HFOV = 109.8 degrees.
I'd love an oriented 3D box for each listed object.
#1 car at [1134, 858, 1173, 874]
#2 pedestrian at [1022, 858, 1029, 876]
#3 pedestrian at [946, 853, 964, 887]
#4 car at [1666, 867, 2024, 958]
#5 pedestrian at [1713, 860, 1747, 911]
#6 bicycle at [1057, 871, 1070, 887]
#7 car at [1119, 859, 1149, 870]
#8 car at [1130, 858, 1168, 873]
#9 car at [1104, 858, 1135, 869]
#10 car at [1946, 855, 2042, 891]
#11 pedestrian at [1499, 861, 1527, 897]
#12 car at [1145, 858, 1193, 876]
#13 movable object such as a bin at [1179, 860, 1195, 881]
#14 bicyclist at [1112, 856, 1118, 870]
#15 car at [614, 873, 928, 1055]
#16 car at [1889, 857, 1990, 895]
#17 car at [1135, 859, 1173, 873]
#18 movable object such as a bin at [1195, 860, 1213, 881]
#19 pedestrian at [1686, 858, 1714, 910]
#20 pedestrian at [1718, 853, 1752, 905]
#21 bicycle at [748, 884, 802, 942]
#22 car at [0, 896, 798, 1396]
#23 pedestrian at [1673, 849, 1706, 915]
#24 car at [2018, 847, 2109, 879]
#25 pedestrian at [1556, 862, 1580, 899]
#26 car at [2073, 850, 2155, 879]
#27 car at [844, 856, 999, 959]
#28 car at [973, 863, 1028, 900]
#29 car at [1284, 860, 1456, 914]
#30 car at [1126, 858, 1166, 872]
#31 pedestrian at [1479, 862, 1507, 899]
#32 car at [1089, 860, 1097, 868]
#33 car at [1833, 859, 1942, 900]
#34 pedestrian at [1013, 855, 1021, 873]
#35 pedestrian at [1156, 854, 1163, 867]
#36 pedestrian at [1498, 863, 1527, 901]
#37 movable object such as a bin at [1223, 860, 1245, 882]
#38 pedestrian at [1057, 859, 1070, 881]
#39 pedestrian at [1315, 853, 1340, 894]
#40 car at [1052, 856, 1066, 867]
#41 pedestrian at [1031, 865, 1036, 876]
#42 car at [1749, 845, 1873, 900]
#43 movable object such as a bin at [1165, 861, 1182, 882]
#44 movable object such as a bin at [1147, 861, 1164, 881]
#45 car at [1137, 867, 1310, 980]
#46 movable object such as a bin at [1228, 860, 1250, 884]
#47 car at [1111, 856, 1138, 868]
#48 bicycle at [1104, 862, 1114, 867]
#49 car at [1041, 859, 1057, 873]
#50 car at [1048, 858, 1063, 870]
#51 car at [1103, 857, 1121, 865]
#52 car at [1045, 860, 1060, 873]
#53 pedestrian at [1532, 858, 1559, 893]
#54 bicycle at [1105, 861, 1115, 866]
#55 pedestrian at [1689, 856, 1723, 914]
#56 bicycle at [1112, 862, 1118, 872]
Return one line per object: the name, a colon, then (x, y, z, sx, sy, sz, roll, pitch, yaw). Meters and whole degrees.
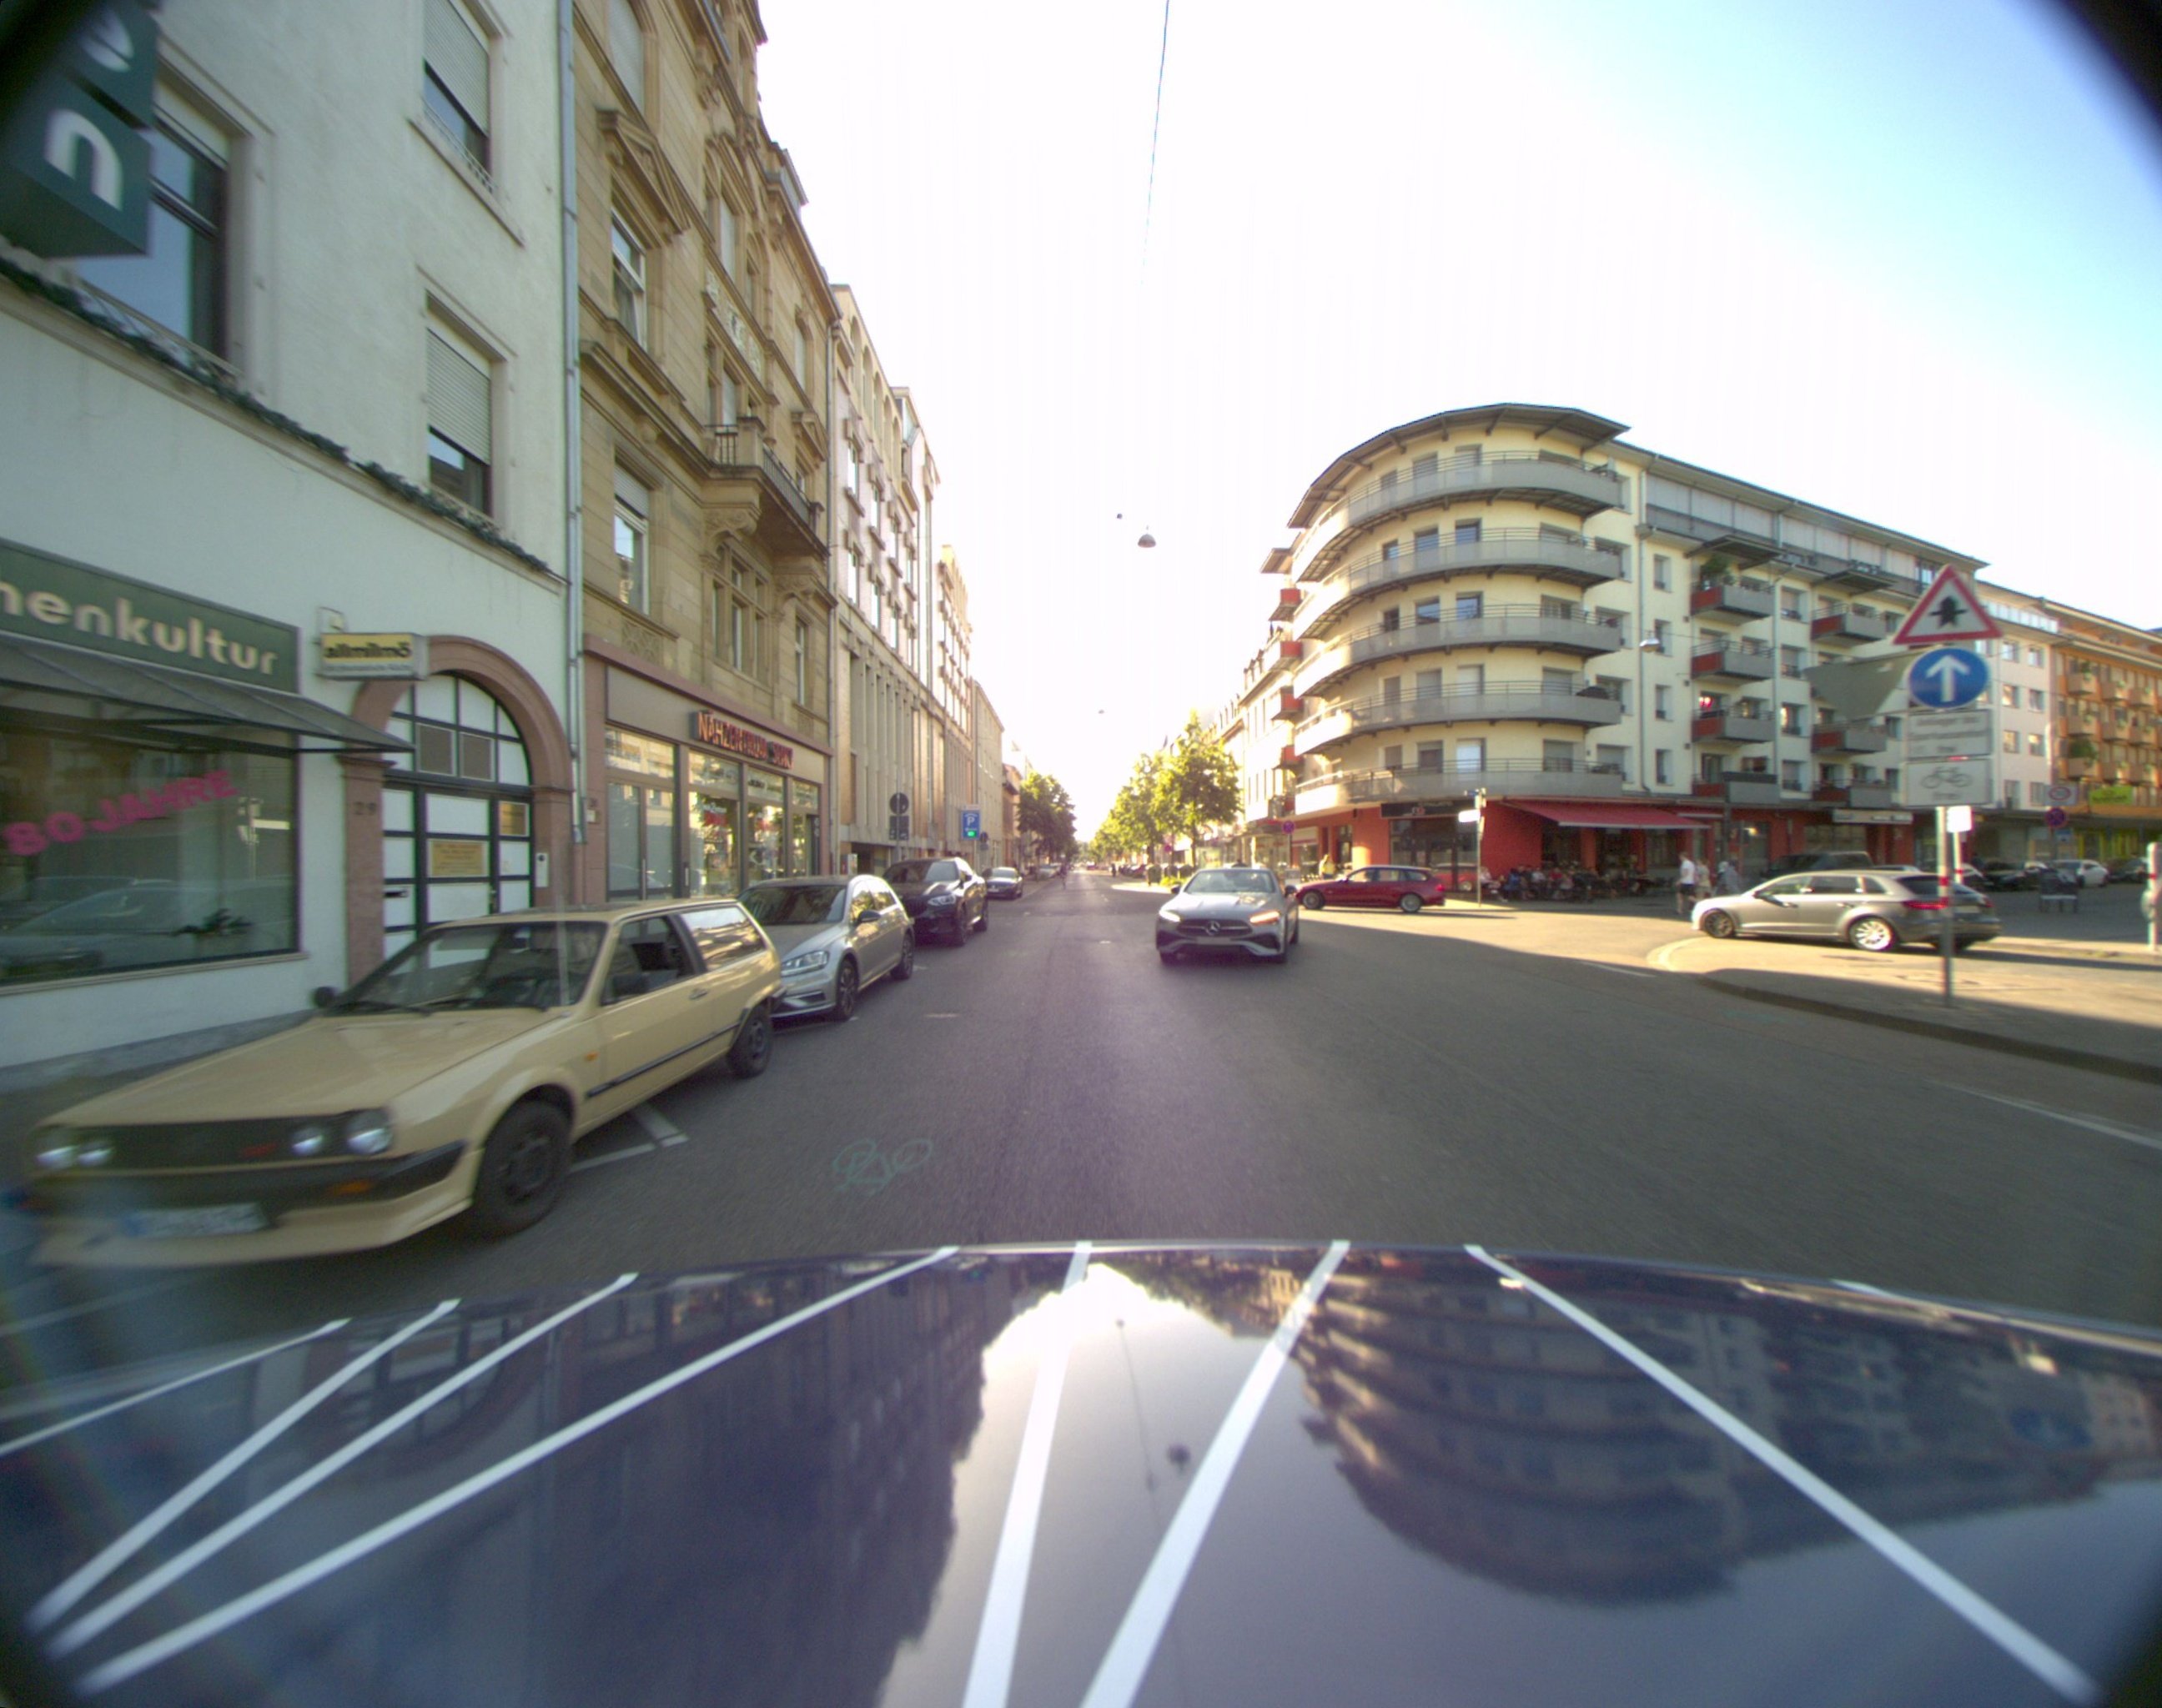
car: (7.372, 1.210, 77.023, 3.757, 1.459, 1.739, -2, 0, 0)
pedestrian: (-5.100, 1.187, 69.945, 0.582, 1.550, 1.020, 2, 0, -1)
pedestrian: (-6.107, 0.759, 36.903, 0.693, 1.626, 0.889, 1, 0, -1)
car: (13.951, 0.996, 14.353, 1.754, 1.414, 4.535, -1, -2, -11)
pedestrian: (19.741, 0.954, 23.103, 0.576, 1.526, 0.698, -1, 0, -41)
bicycle: (-1.145, 1.610, 49.314, 0.805, 0.958, 1.996, -2, -1, -1)
car: (6.910, 1.376, 99.409, 3.791, 1.450, 1.780, -1, 0, -3)
car: (7.281, 1.193, 82.064, 3.928, 1.476, 1.771, -2, 0, 1)
car: (5.599, 1.406, 110.119, 4.377, 1.561, 1.980, -1, 0, 0)
car: (44.510, 0.910, 37.031, 4.188, 1.650, 1.907, 1, 0, -24)
pedestrian: (16.097, 0.925, 28.322, 0.576, 1.332, 0.698, -1, 0, -29)
car: (8.030, 1.178, 69.548, 4.213, 1.459, 1.740, -2, 0, 2)
movable object such as a bin: (7.566, 1.194, 54.475, 0.966, 1.463, 1.143, -1, 0, -1)
bicyclist: (3.830, 1.026, 85.817, 0.698, 1.643, 1.036, 0, 0, 2)
car: (-3.156, 1.023, 8.796, 1.843, 1.478, 4.184, -2, -1, 0)
car: (39.456, 0.991, 34.928, 4.188, 1.650, 1.907, 1, 0, -24)
car: (7.595, 1.242, 79.552, 3.850, 1.420, 1.790, -2, 0, 1)
movable object such as a bin: (8.820, 1.203, 54.460, 1.045, 1.463, 1.143, 0, 0, -1)
pedestrian: (18.339, 0.878, 22.518, 0.543, 1.526, 0.551, -1, 0, -41)
pedestrian: (19.382, 0.735, 22.529, 0.543, 1.526, 0.685, -1, 0, -41)
bicycle: (-6.487, 1.223, 16.171, 0.359, 1.078, 1.941, 1, 0, 0)
car: (-3.206, 1.076, 4.419, 1.612, 1.440, 3.830, -2, -1, 0)
pedestrian: (17.069, 0.786, 21.307, 0.588, 1.817, 0.557, 0, 0, -33)
car: (50.596, 0.480, 39.131, 4.188, 1.564, 1.907, 1, 0, -24)
pedestrian: (17.916, 0.975, 27.940, 0.698, 1.332, 0.576, -1, 0, 37)
car: (59.326, 0.591, 43.634, 4.188, 1.564, 1.907, 1, 0, -24)
car: (-3.006, 0.951, 15.517, 1.978, 1.715, 4.825, -2, -1, 1)
car: (-3.635, 1.197, 35.156, 1.922, 1.470, 4.964, 3, 0, 0)
car: (8.783, 0.947, 23.369, 4.724, 1.506, 1.924, 0, 0, 19)
car: (7.547, 1.239, 88.570, 4.505, 1.450, 1.790, -2, 0, -2)
pedestrian: (14.984, 0.956, 27.621, 0.576, 1.332, 0.698, -1, 0, -29)
car: (2.632, 2.197, 167.227, 1.662, 1.526, 3.760, -2, 0, 0)
car: (34.520, 1.075, 32.524, 4.188, 1.650, 1.907, 1, 0, -24)
pedestrian: (-6.139, 0.979, 72.994, 0.624, 1.755, 0.771, 1, 0, 1)
pedestrian: (10.949, 0.949, 105.758, 0.776, 1.756, 0.763, -5, 0, -2)
pedestrian: (15.316, 0.980, 26.963, 0.576, 1.332, 0.698, -1, 0, -29)
movable object such as a bin: (9.623, 1.048, 47.838, 1.045, 1.337, 1.314, 0, 0, -1)
pedestrian: (-1.154, 1.060, 49.341, 0.804, 1.381, 0.931, -2, -1, -1)
pedestrian: (10.022, 0.785, 30.959, 0.666, 1.649, 1.036, -1, 0, -1)
car: (-3.423, 1.151, 116.973, 1.999, 1.679, 4.516, 2, 0, -1)
pedestrian: (-4.378, 1.505, 69.953, 0.394, 1.027, 0.739, 2, 0, -1)
car: (28.940, 0.723, 30.120, 4.357, 2.037, 2.031, 1, 0, -24)
movable object such as a bin: (6.569, 1.211, 54.174, 1.045, 1.463, 1.143, 0, 0, -1)
movable object such as a bin: (5.338, 1.215, 54.765, 1.045, 1.463, 1.452, 0, 0, -1)
car: (2.630, 0.960, 12.761, 1.995, 1.414, 5.126, 0, 0, 20)
movable object such as a bin: (9.587, 1.089, 46.255, 1.045, 1.396, 1.314, 0, 0, -1)
car: (6.978, 1.326, 122.365, 4.116, 1.825, 2.039, -2, 0, 0)
bicycle: (6.065, 2.196, 166.197, 2.006, 1.023, 0.473, -2, 0, -13)
car: (-3.571, 1.350, 85.113, 1.618, 1.520, 3.060, 1, 0, -1)
car: (-3.513, 1.338, 103.799, 1.888, 1.518, 4.234, 1, 0, -1)
car: (7.551, 1.676, 184.600, 4.135, 1.670, 2.000, -1, 0, -1)
car: (-3.458, 1.506, 91.385, 1.618, 1.519, 4.234, 2, 0, -1)
pedestrian: (17.842, 0.824, 29.193, 0.576, 1.332, 0.698, -1, 0, -29)
bicycle: (6.336, 2.130, 164.764, 2.006, 1.023, 0.473, -2, 0, -13)
pedestrian: (17.754, 0.863, 21.597, 0.617, 1.603, 0.581, 0, 0, -33)
bicycle: (3.833, 1.467, 85.828, 0.707, 1.140, 1.968, 0, 0, 2)
